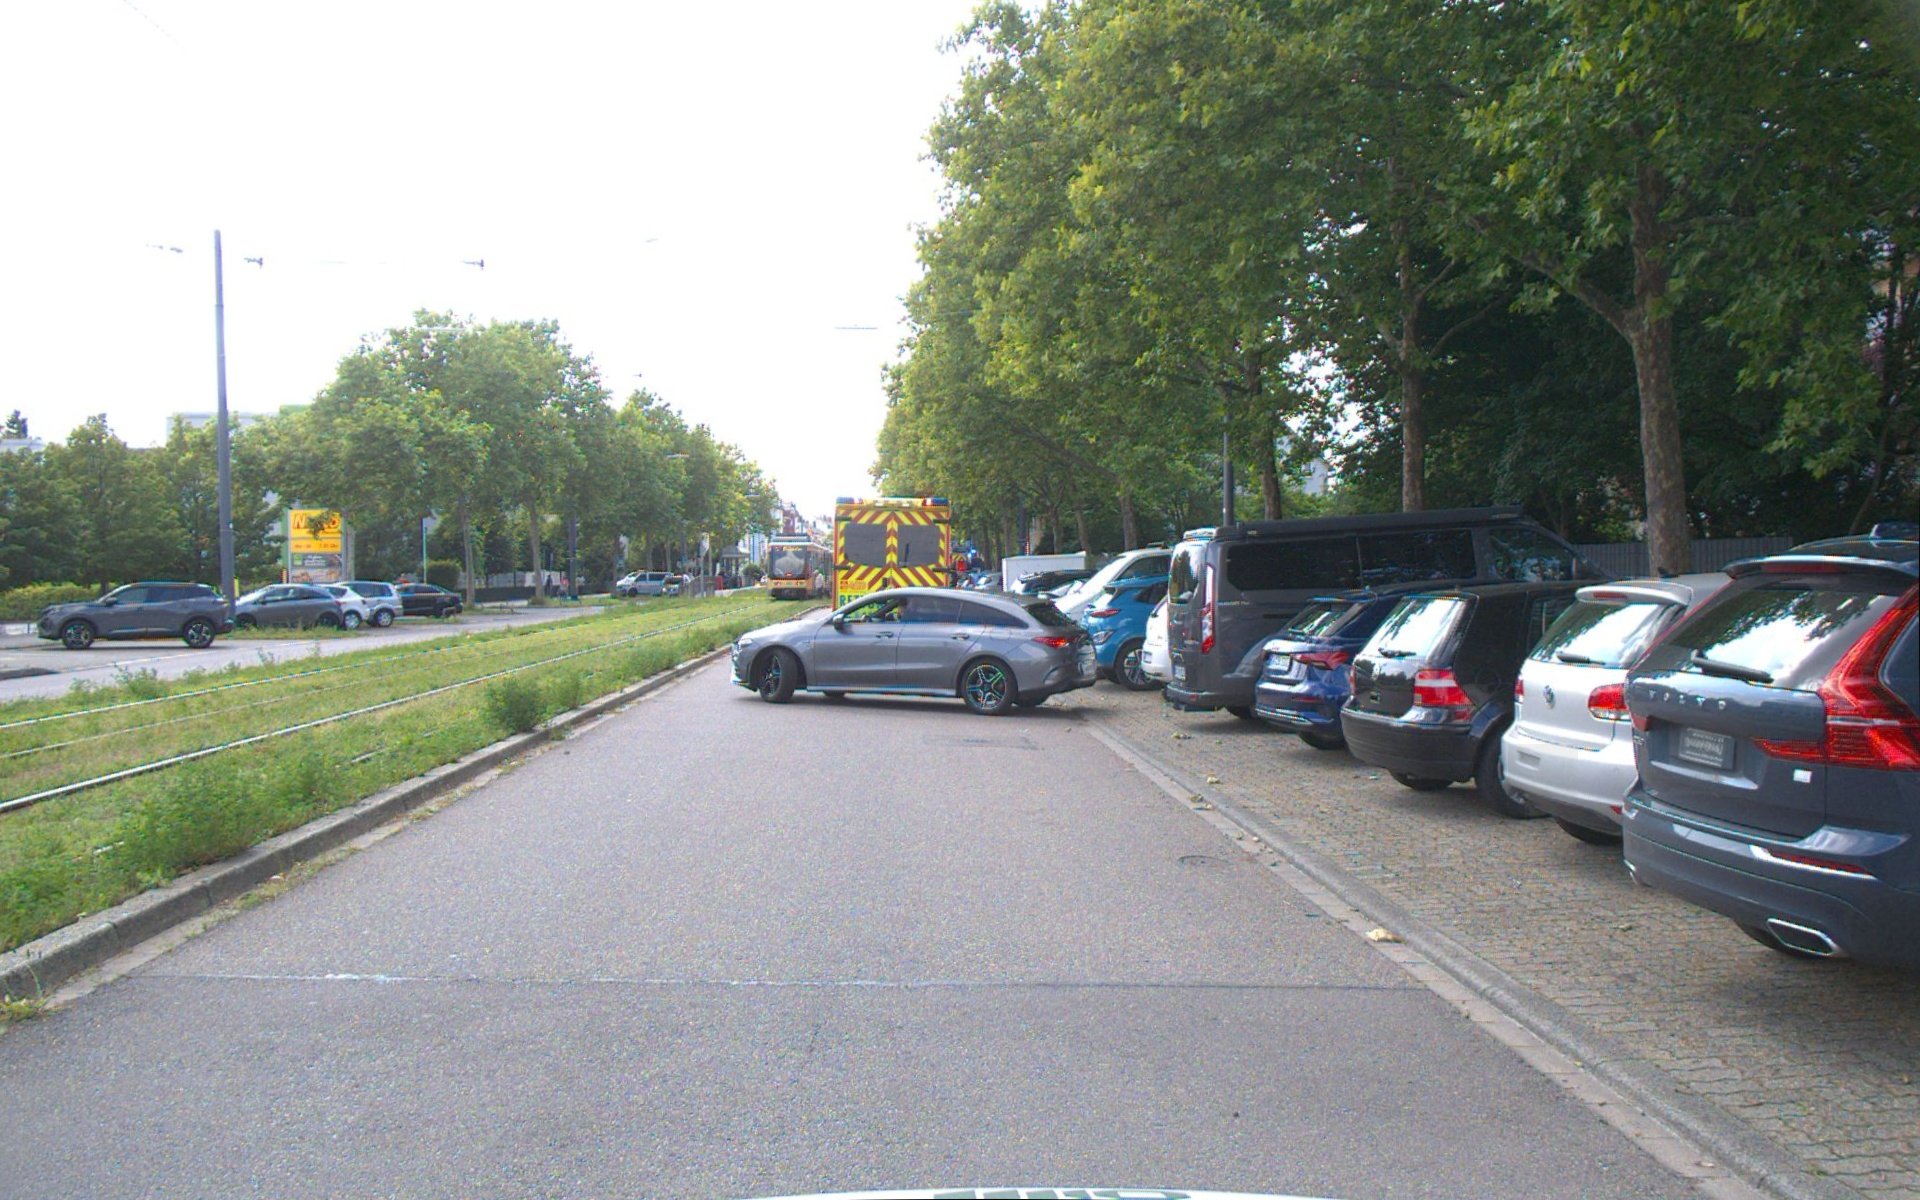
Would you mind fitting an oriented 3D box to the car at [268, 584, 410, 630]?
[{"bbox_3d":[-21.010,0.213,56.034,4.192,1.508,1.857,0,0,-39],"label":"car"}]

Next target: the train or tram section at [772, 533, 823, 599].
[{"bbox_3d":[-9.398,-1.899,96.141,2.462,3.646,7.441,-2,0,-3],"label":"train or tram section"}]

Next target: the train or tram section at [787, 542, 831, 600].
[{"bbox_3d":[-10.084,-1.887,111.006,2.462,3.646,7.441,-2,0,-3],"label":"train or tram section"}]

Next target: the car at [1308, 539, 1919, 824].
[{"bbox_3d":[4.554,0.465,11.237,3.897,1.633,1.750,-2,1,-13],"label":"car"}]

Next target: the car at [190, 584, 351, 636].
[{"bbox_3d":[-20.855,0.297,50.110,4.192,1.508,1.857,0,0,-39],"label":"car"}]

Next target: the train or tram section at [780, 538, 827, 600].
[{"bbox_3d":[-9.744,-1.893,103.574,2.462,3.646,7.441,-2,0,-3],"label":"train or tram section"}]

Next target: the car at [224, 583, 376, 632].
[{"bbox_3d":[-21.133,0.215,53.007,4.192,1.508,1.857,0,0,-39],"label":"car"}]

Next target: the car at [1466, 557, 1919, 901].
[{"bbox_3d":[4.839,0.543,8.523,3.887,1.520,1.755,-2,1,-3],"label":"car"}]

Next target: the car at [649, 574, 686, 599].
[{"bbox_3d":[-20.053,-0.935,113.507,1.954,1.585,4.367,-2,1,-3],"label":"car"}]

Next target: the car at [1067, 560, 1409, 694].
[{"bbox_3d":[3.909,0.348,23.632,4.459,1.689,1.853,-2,1,-7],"label":"car"}]

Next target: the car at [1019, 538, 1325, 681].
[{"bbox_3d":[3.285,0.126,26.140,4.459,2.035,1.853,-2,1,-7],"label":"car"}]

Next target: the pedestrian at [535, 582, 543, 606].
[{"bbox_3d":[-26.030,-0.363,102.270,0.413,1.499,0.467,-1,1,-7],"label":"pedestrian"}]

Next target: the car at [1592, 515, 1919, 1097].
[{"bbox_3d":[4.661,0.522,5.672,4.292,1.668,1.756,-2,1,-1],"label":"car"}]

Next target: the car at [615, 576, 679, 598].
[{"bbox_3d":[-24.360,-1.006,128.661,4.588,1.661,1.855,-2,1,-42],"label":"car"}]

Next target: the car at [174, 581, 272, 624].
[{"bbox_3d":[-32.567,0.084,73.090,3.912,1.780,1.997,2,1,29],"label":"car"}]

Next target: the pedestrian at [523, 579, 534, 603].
[{"bbox_3d":[-28.627,-0.620,109.676,0.620,1.578,0.621,-1,1,-6],"label":"pedestrian"}]

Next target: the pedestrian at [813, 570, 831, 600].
[{"bbox_3d":[-7.071,-0.765,84.634,0.863,1.552,0.750,1,0,-3],"label":"pedestrian"}]

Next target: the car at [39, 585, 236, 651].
[{"bbox_3d":[-19.847,0.412,40.012,4.172,1.508,1.867,0,0,-28],"label":"car"}]

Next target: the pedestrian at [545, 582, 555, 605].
[{"bbox_3d":[-25.839,-0.400,104.157,0.412,1.439,0.467,-1,1,22],"label":"pedestrian"}]

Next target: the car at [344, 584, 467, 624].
[{"bbox_3d":[-21.509,0.149,64.221,4.199,1.508,1.854,0,0,-42],"label":"car"}]

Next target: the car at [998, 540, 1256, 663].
[{"bbox_3d":[3.048,0.006,30.726,4.459,2.079,1.853,-2,1,-7],"label":"car"}]

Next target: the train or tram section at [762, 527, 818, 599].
[{"bbox_3d":[-9.044,-1.905,88.720,2.462,3.646,7.441,-2,0,-3],"label":"train or tram section"}]

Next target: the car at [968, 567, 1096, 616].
[{"bbox_3d":[2.635,-0.312,60.913,4.459,1.636,1.853,-2,1,-7],"label":"car"}]

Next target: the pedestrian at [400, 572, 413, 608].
[{"bbox_3d":[-26.727,-0.491,79.843,0.457,1.706,0.603,-1,1,-4],"label":"pedestrian"}]

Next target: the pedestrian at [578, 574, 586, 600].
[{"bbox_3d":[-27.171,-0.912,118.990,0.457,1.860,0.422,-1,1,-4],"label":"pedestrian"}]

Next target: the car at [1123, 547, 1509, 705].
[{"bbox_3d":[4.453,0.299,21.122,4.455,1.797,1.855,-2,1,-3],"label":"car"}]

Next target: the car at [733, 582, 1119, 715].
[{"bbox_3d":[-0.405,0.539,20.204,4.361,1.409,1.767,2,1,20],"label":"car"}]

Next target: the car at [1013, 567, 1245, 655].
[{"bbox_3d":[3.457,0.207,34.220,4.459,1.636,1.853,-2,1,-7],"label":"car"}]

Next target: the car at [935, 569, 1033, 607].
[{"bbox_3d":[1.113,-0.574,78.940,4.459,1.636,1.853,-2,1,-7],"label":"car"}]

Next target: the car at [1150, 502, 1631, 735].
[{"bbox_3d":[4.362,0.161,17.200,4.455,2.160,1.855,-2,1,-3],"label":"car"}]

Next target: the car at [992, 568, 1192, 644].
[{"bbox_3d":[3.098,0.120,39.364,4.459,1.636,1.853,-2,1,-7],"label":"car"}]

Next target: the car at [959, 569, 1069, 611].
[{"bbox_3d":[2.287,-0.432,70.754,4.459,1.636,1.853,-2,1,-7],"label":"car"}]

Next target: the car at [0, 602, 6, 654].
[{"bbox_3d":[-31.221,0.809,49.832,3.905,1.592,1.777,1,0,0],"label":"car"}]

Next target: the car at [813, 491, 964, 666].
[{"bbox_3d":[-1.314,-0.409,32.554,2.588,3.018,6.298,2,0,-1],"label":"car"}]

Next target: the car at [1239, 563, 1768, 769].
[{"bbox_3d":[4.500,0.517,14.069,3.887,1.520,1.755,-2,0,-3],"label":"car"}]
